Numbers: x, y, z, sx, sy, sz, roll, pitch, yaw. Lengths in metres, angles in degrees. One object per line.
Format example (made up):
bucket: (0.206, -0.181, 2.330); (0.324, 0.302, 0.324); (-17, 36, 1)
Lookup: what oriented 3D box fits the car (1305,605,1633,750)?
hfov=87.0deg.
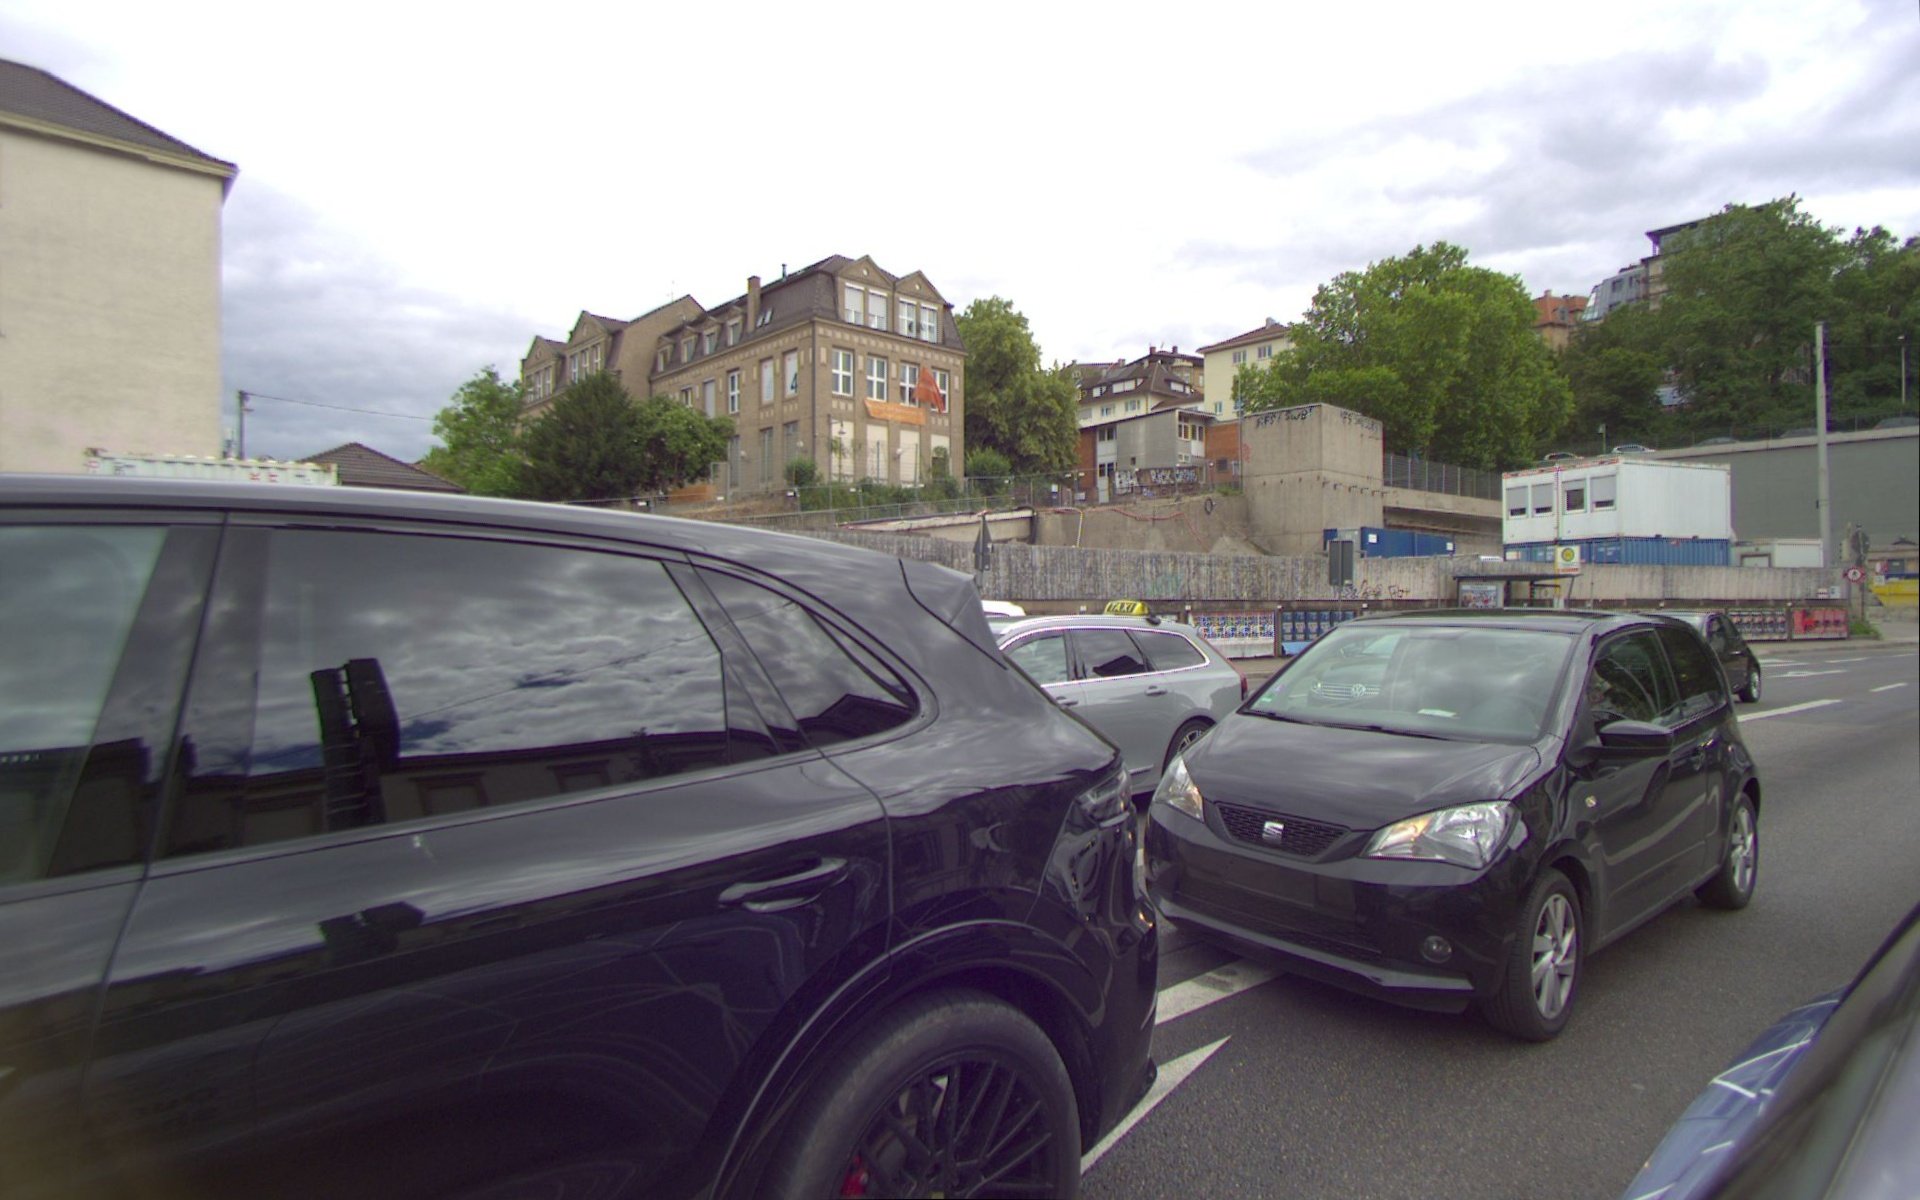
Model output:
car: (6.027, 0.769, 11.803); (4.139, 1.381, 1.827); (1, 0, -38)

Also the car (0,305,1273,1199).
car: (-1.654, 0.558, 1.664); (4.497, 1.689, 1.998); (-1, 0, -39)

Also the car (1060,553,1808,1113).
car: (2.415, 0.633, 4.716); (3.841, 1.575, 1.661); (-1, 0, -39)

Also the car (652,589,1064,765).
car: (-0.936, 0.633, 10.600); (4.004, 1.484, 1.824); (-1, 1, -42)

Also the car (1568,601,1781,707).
car: (11.362, 0.786, 16.024); (3.711, 1.478, 1.721); (1, -2, -38)

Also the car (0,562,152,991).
car: (-5.058, 0.638, 3.455); (3.581, 1.529, 1.826); (-1, 0, -39)

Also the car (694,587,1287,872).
car: (0.403, 0.658, 7.337); (4.142, 1.484, 1.825); (-1, 0, -40)
